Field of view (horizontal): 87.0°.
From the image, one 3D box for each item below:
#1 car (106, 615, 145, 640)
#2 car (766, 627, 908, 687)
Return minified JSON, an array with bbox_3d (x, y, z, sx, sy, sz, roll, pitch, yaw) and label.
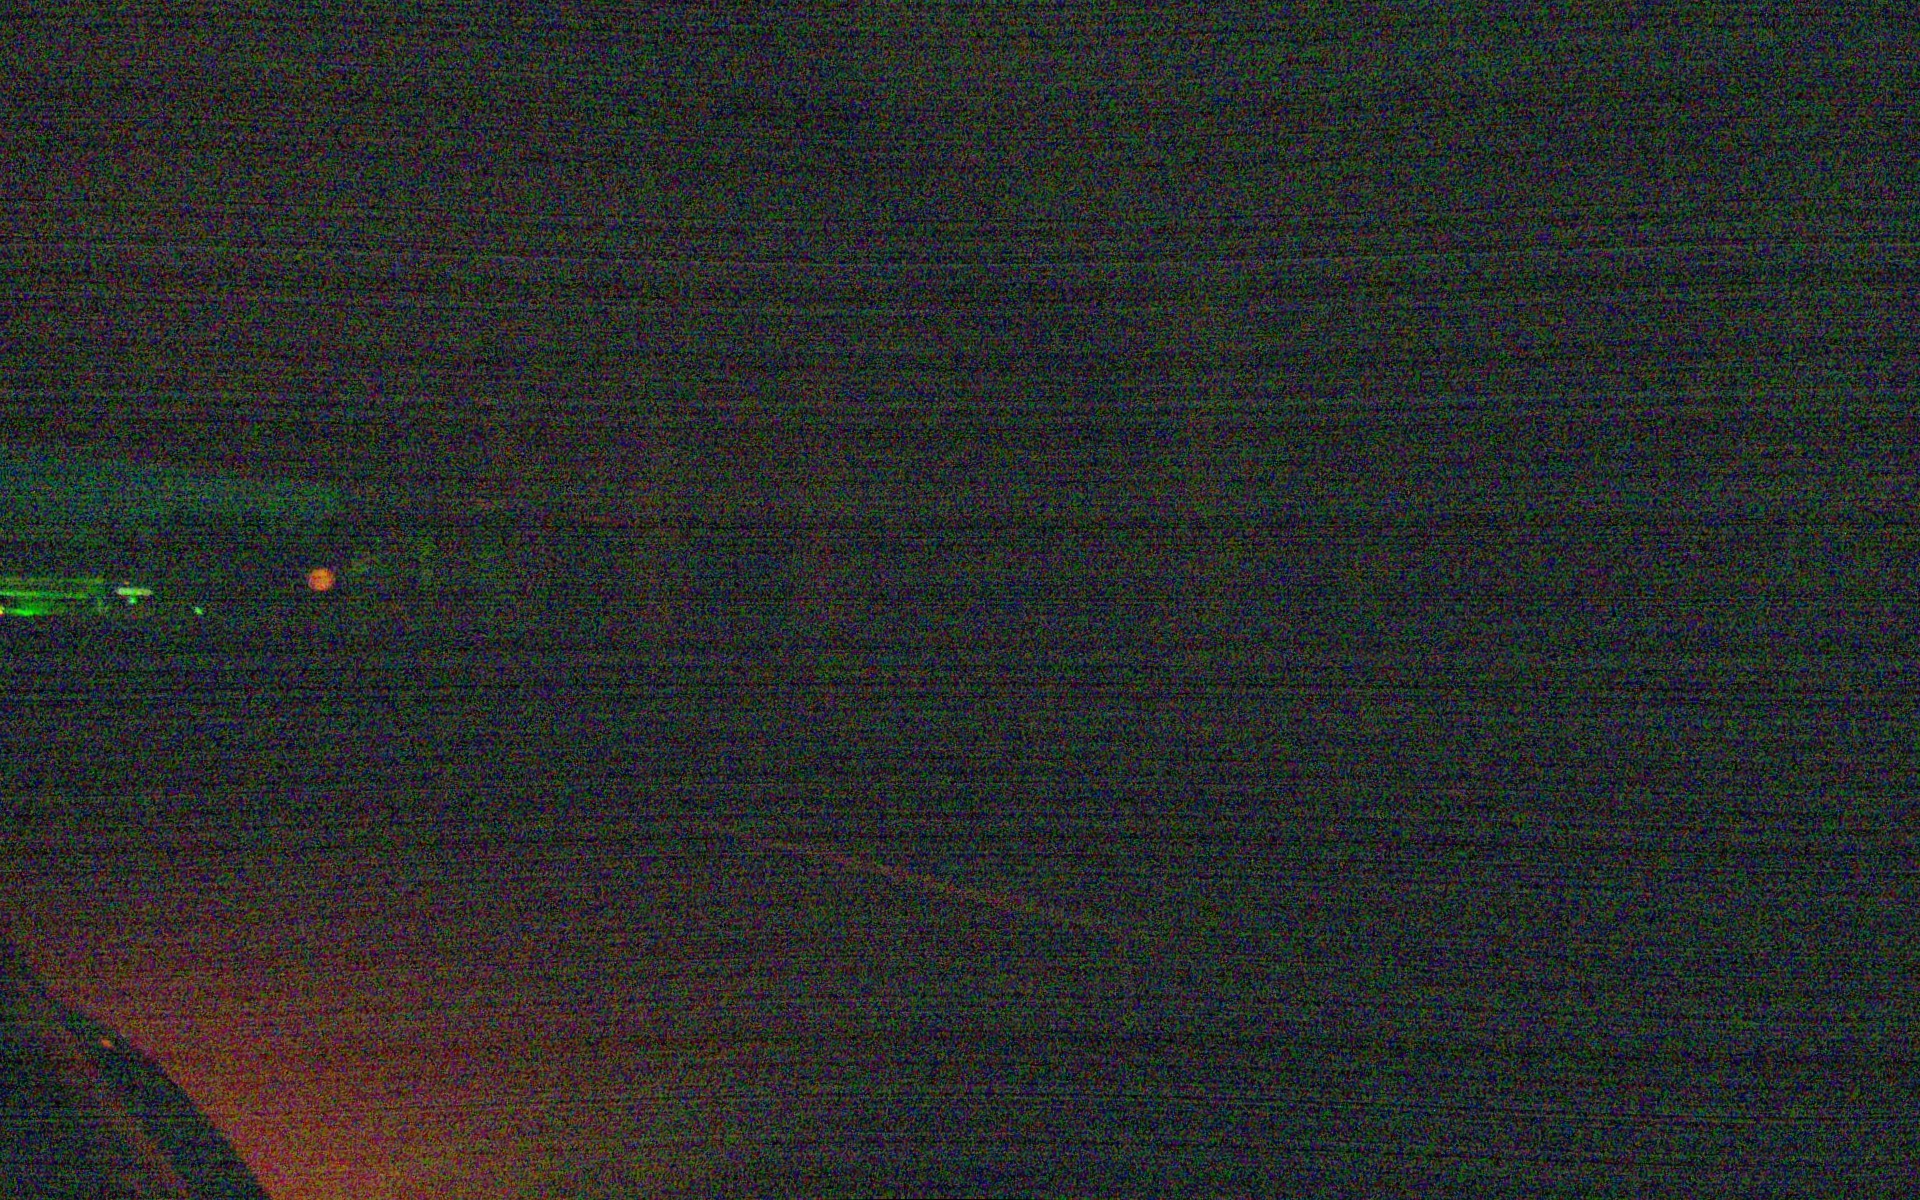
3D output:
[{"bbox_3d":[-71.083,2.309,86.158,4.608,2.029,1.972,-1,0,42],"label":"car"},{"bbox_3d":[-3.500,1.551,28.447,3.999,1.519,1.806,-1,-1,42],"label":"car"}]
